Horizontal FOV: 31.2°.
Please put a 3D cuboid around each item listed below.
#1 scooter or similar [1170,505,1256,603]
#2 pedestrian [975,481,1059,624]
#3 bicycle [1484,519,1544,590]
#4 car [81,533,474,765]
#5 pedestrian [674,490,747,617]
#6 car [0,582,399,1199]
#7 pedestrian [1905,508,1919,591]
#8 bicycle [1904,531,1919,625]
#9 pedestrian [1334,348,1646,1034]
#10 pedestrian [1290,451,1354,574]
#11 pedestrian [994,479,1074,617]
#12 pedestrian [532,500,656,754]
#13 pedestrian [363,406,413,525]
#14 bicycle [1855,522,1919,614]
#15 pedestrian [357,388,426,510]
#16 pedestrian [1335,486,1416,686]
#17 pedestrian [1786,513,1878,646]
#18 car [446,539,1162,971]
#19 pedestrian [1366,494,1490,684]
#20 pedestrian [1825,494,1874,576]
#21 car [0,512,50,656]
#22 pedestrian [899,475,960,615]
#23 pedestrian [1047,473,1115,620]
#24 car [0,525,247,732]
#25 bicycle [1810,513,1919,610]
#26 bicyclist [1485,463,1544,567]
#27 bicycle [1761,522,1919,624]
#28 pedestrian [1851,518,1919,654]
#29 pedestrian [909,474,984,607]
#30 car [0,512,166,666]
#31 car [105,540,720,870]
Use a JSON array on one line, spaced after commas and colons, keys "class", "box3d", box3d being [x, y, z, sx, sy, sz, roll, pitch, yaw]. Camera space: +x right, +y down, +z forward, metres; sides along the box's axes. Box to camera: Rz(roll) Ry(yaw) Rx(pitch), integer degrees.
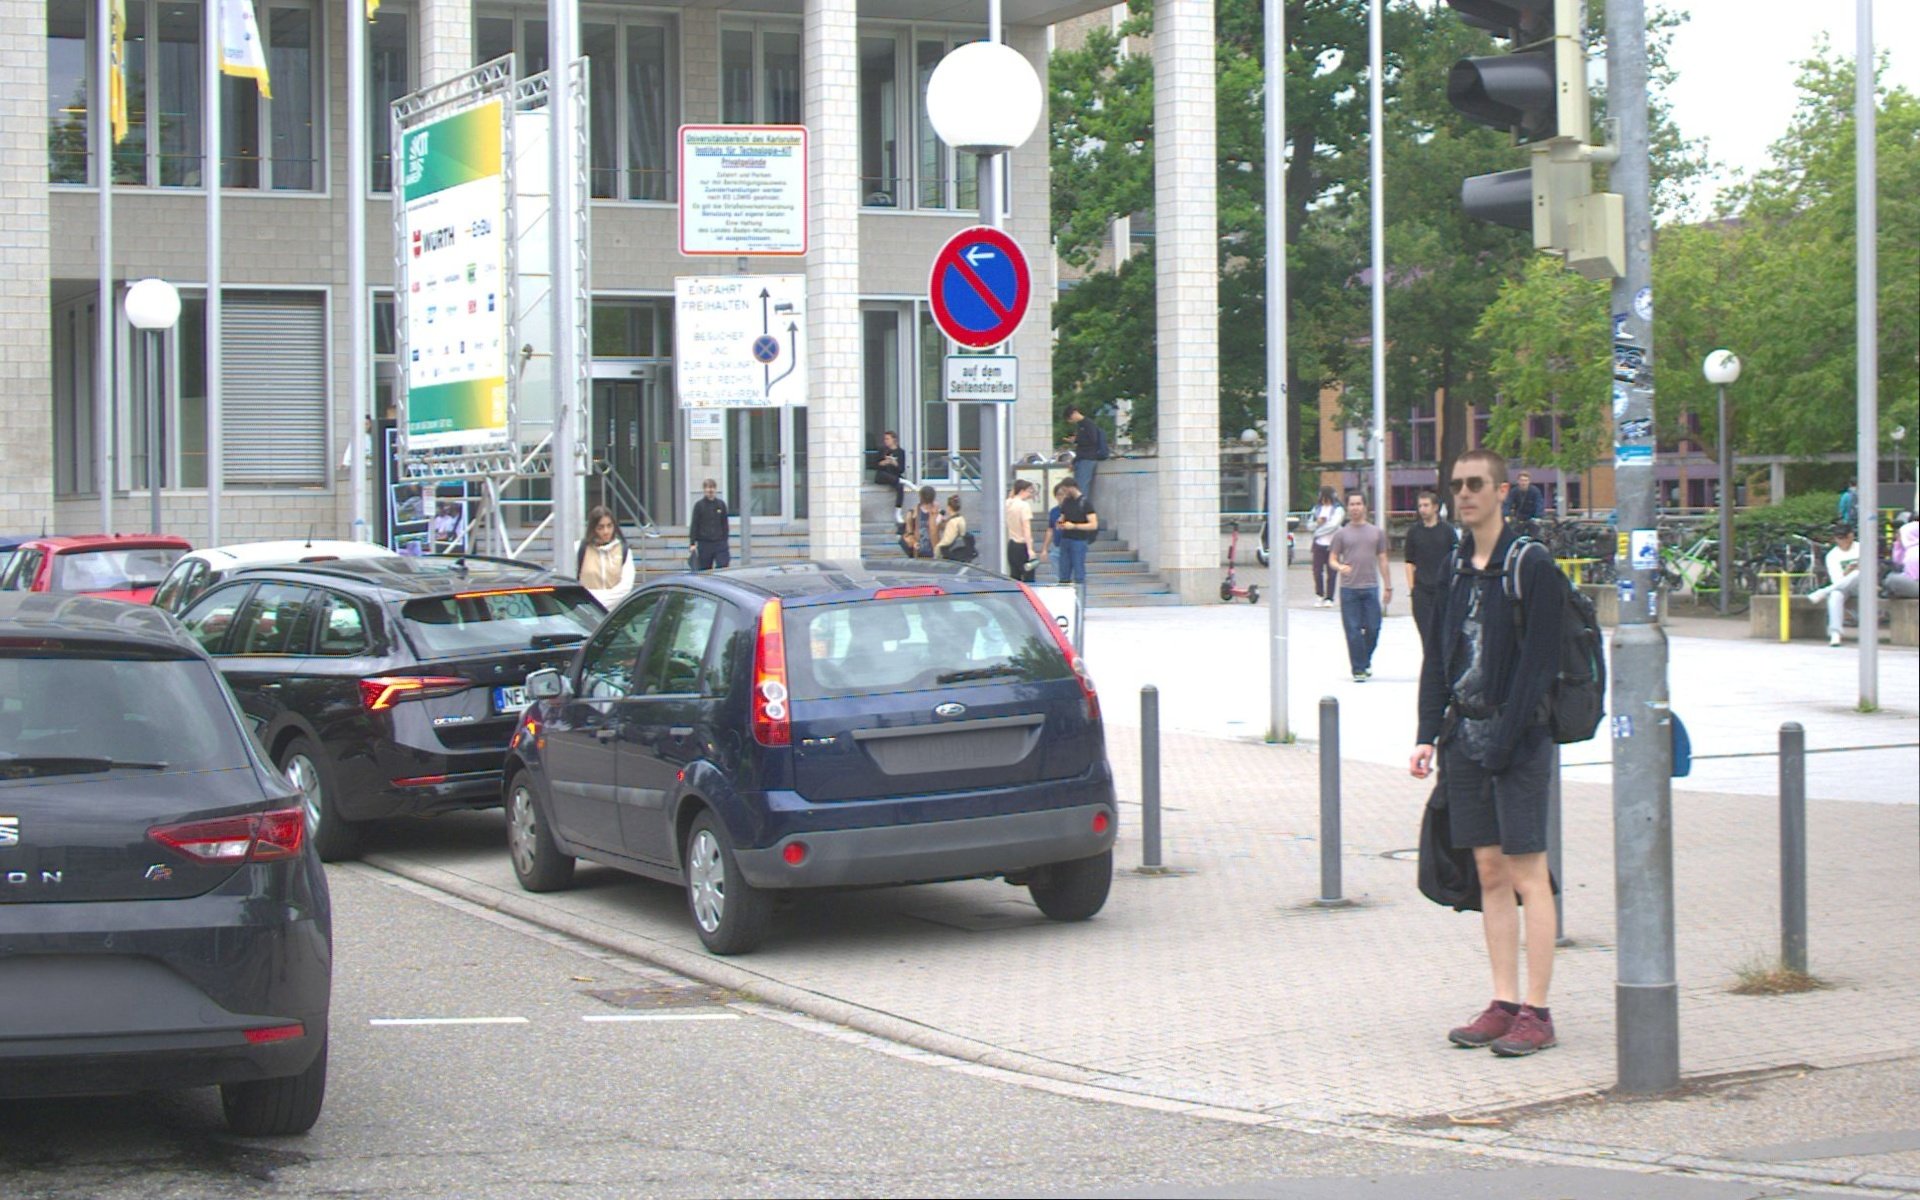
[{"class": "scooter or similar", "box3d": [3.617, -0.662, 49.133, 0.405, 1.364, 1.489, 4, 4, 38]}, {"class": "pedestrian", "box3d": [0.722, -0.603, 43.393, 0.762, 1.779, 0.737, -1, 1, -38]}, {"class": "bicycle", "box3d": [8.815, -0.741, 54.686, 0.874, 1.089, 1.800, 1, 2, 11]}, {"class": "car", "box3d": [-4.836, 0.274, 23.950, 1.860, 1.448, 3.860, 0, 1, -24]}, {"class": "pedestrian", "box3d": [-3.307, -0.615, 45.494, 0.755, 1.664, 0.705, -1, 1, -23]}, {"class": "car", "box3d": [-2.948, 0.698, 9.933, 1.782, 1.414, 4.131, 0, 1, -21]}, {"class": "pedestrian", "box3d": [19.153, -0.996, 67.904, 0.660, 1.635, 0.666, 0, 1, -27]}, {"class": "bicycle", "box3d": [12.728, -0.182, 41.728, 0.620, 1.166, 3.109, 1, 3, -22]}, {"class": "pedestrian", "box3d": [1.553, 0.254, 10.172, 0.791, 1.945, 0.758, -1, 1, 0]}, {"class": "pedestrian", "box3d": [4.970, -1.213, 47.182, 0.735, 1.635, 0.931, 3, 3, 11]}, {"class": "pedestrian", "box3d": [0.963, -0.680, 44.910, 0.719, 1.779, 0.737, -1, 1, -38]}, {"class": "pedestrian", "box3d": [-2.620, 0.180, 24.557, 0.791, 1.781, 0.821, 0, 1, -12]}, {"class": "pedestrian", "box3d": [-8.104, -1.907, 48.717, 0.629, 1.653, 0.807, 2, 3, -8]}, {"class": "bicycle", "box3d": [13.224, -0.377, 45.790, 0.745, 1.166, 3.109, 1, 3, -22]}, {"class": "pedestrian", "box3d": [-7.906, -2.098, 47.799, 0.804, 1.653, 0.631, 2, 3, 1]}, {"class": "pedestrian", "box3d": [3.846, -0.142, 31.855, 0.641, 1.801, 0.648, 2, 3, 4]}, {"class": "pedestrian", "box3d": [9.378, -0.229, 36.987, 0.768, 1.408, 0.672, 1, 1, 34]}, {"class": "car", "box3d": [-0.819, 0.521, 14.546, 1.622, 1.496, 4.106, -3, 2, -23]}, {"class": "pedestrian", "box3d": [4.339, -0.116, 31.850, 0.908, 1.706, 0.693, 2, 3, 33]}, {"class": "pedestrian", "box3d": [17.849, -1.300, 68.986, 0.660, 1.635, 0.666, -1, 1, -26]}, {"class": "car", "box3d": [-11.507, -0.232, 38.623, 1.848, 1.437, 4.420, 0, 3, -23]}, {"class": "pedestrian", "box3d": [-0.403, -0.725, 45.482, 0.590, 1.834, 0.620, 0, 1, -23]}, {"class": "pedestrian", "box3d": [1.547, -0.679, 43.892, 0.602, 1.858, 0.778, 0, 1, 24]}, {"class": "car", "box3d": [-7.252, 0.168, 28.432, 1.712, 1.468, 4.275, -3, 3, -24]}, {"class": "bicycle", "box3d": [12.515, -0.499, 45.460, 0.745, 1.166, 3.109, 1, 3, -22]}, {"class": "bicyclist", "box3d": [8.816, -1.351, 54.663, 0.874, 1.635, 0.868, 1, 2, 11]}, {"class": "bicycle", "box3d": [11.782, -0.367, 45.167, 0.745, 1.166, 3.109, 1, 3, -22]}, {"class": "pedestrian", "box3d": [10.058, -0.158, 36.223, 0.849, 1.416, 0.969, -1, 1, -35]}, {"class": "pedestrian", "box3d": [-0.176, -0.780, 44.680, 0.776, 1.709, 0.604, -1, 1, -23]}, {"class": "car", "box3d": [-9.250, -0.147, 33.957, 1.695, 1.406, 4.377, -1, 2, -27]}, {"class": "car", "box3d": [-3.082, 0.452, 18.508, 1.860, 1.396, 4.479, -3, 3, -28]}]
